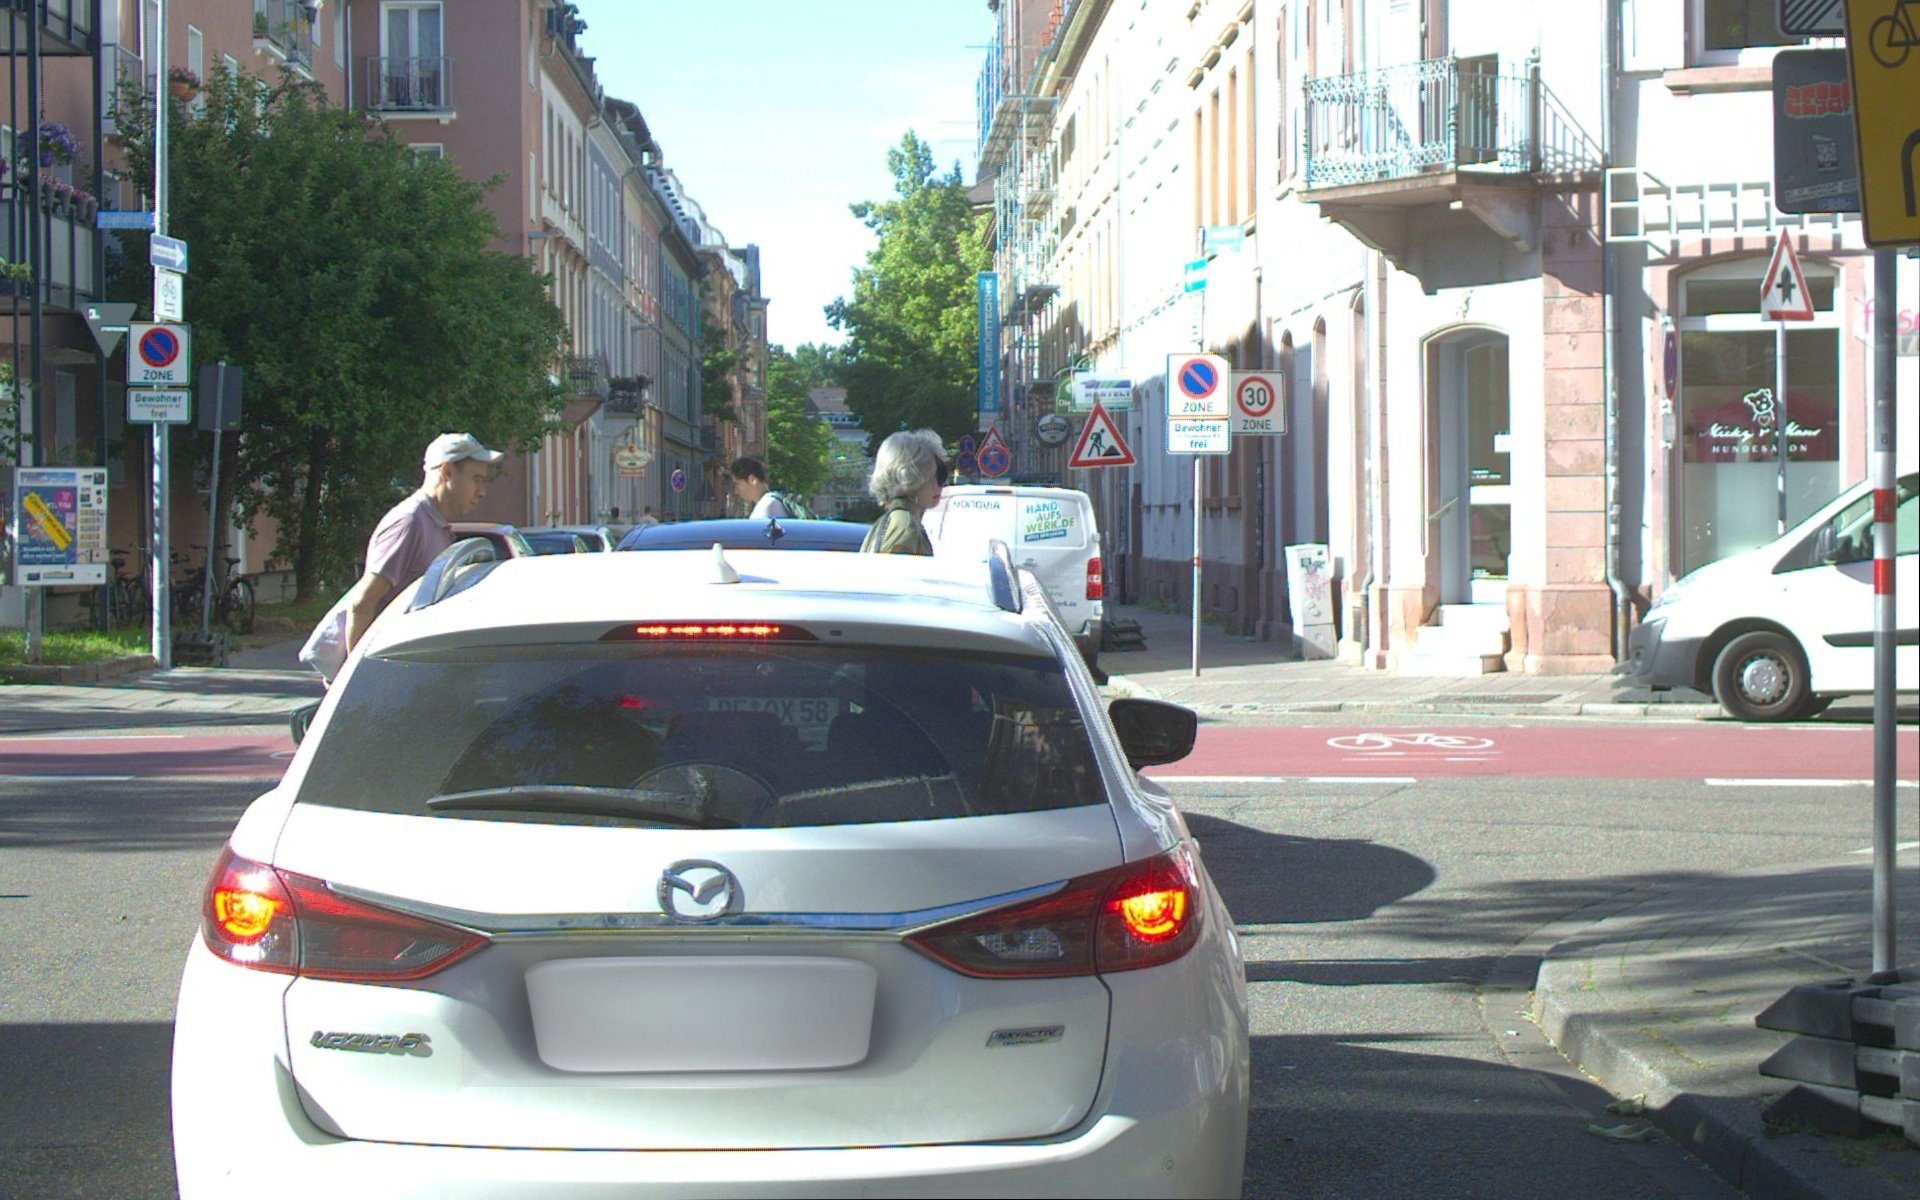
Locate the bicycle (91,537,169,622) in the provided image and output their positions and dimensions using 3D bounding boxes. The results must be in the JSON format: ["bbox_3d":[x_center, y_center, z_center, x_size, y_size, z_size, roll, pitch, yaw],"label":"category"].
[{"bbox_3d":[-10.499,-0.264,43.451,1.215,1.068,0.253,1,2,38],"label":"bicycle"}]

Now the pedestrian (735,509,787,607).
[{"bbox_3d":[-3.336,-0.708,57.599,0.733,1.608,0.816,-1,1,-13],"label":"pedestrian"}]

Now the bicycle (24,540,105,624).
[{"bbox_3d":[-11.132,-0.226,42.724,1.215,1.032,0.290,1,2,38],"label":"bicycle"}]

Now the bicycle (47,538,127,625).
[{"bbox_3d":[-10.908,-0.239,42.944,1.215,1.068,0.265,1,2,38],"label":"bicycle"}]

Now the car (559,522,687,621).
[{"bbox_3d":[-5.230,-0.473,53.677,1.653,1.495,3.763,0,1,-1],"label":"car"}]

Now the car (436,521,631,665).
[{"bbox_3d":[-4.618,-0.119,37.690,1.653,1.495,4.080,0,1,-1],"label":"car"}]

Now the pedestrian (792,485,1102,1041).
[{"bbox_3d":[-0.042,0.497,10.948,0.836,1.661,0.626,-4,2,0],"label":"pedestrian"}]

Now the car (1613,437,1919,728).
[{"bbox_3d":[7.205,-0.137,23.723,5.015,1.939,2.049,0,1,22],"label":"car"}]

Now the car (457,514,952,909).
[{"bbox_3d":[-0.931,0.348,14.449,1.760,1.405,4.328,0,1,-1],"label":"car"}]

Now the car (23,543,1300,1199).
[{"bbox_3d":[-0.448,0.631,6.938,1.831,1.452,3.963,0,1,-1],"label":"car"}]

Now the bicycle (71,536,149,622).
[{"bbox_3d":[-10.690,-0.268,43.205,1.215,1.067,0.253,1,2,38],"label":"bicycle"}]

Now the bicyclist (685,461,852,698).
[{"bbox_3d":[-1.241,-0.142,22.420,1.042,1.514,0.739,0,1,-1],"label":"bicyclist"}]

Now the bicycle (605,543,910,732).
[{"bbox_3d":[-1.304,0.237,22.429,1.947,1.193,0.630,0,1,0],"label":"bicycle"}]

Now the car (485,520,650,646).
[{"bbox_3d":[-4.855,-0.243,42.898,1.653,1.495,3.763,0,1,-1],"label":"car"}]

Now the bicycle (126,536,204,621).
[{"bbox_3d":[-10.058,-0.277,43.491,1.218,1.068,0.253,1,2,38],"label":"bicycle"}]

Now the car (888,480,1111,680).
[{"bbox_3d":[0.328,-0.251,35.419,1.894,1.853,5.015,2,1,-3],"label":"car"}]

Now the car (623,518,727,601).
[{"bbox_3d":[-5.298,-0.771,64.191,1.653,1.495,3.763,0,1,-1],"label":"car"}]

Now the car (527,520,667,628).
[{"bbox_3d":[-5.217,-0.404,49.749,1.653,1.495,3.763,0,1,-1],"label":"car"}]

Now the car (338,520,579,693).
[{"bbox_3d":[-4.549,0.012,31.639,1.685,1.495,3.807,0,1,-1],"label":"car"}]

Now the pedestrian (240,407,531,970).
[{"bbox_3d":[-1.900,0.276,11.481,0.749,1.758,0.831,5,1,-4],"label":"pedestrian"}]
